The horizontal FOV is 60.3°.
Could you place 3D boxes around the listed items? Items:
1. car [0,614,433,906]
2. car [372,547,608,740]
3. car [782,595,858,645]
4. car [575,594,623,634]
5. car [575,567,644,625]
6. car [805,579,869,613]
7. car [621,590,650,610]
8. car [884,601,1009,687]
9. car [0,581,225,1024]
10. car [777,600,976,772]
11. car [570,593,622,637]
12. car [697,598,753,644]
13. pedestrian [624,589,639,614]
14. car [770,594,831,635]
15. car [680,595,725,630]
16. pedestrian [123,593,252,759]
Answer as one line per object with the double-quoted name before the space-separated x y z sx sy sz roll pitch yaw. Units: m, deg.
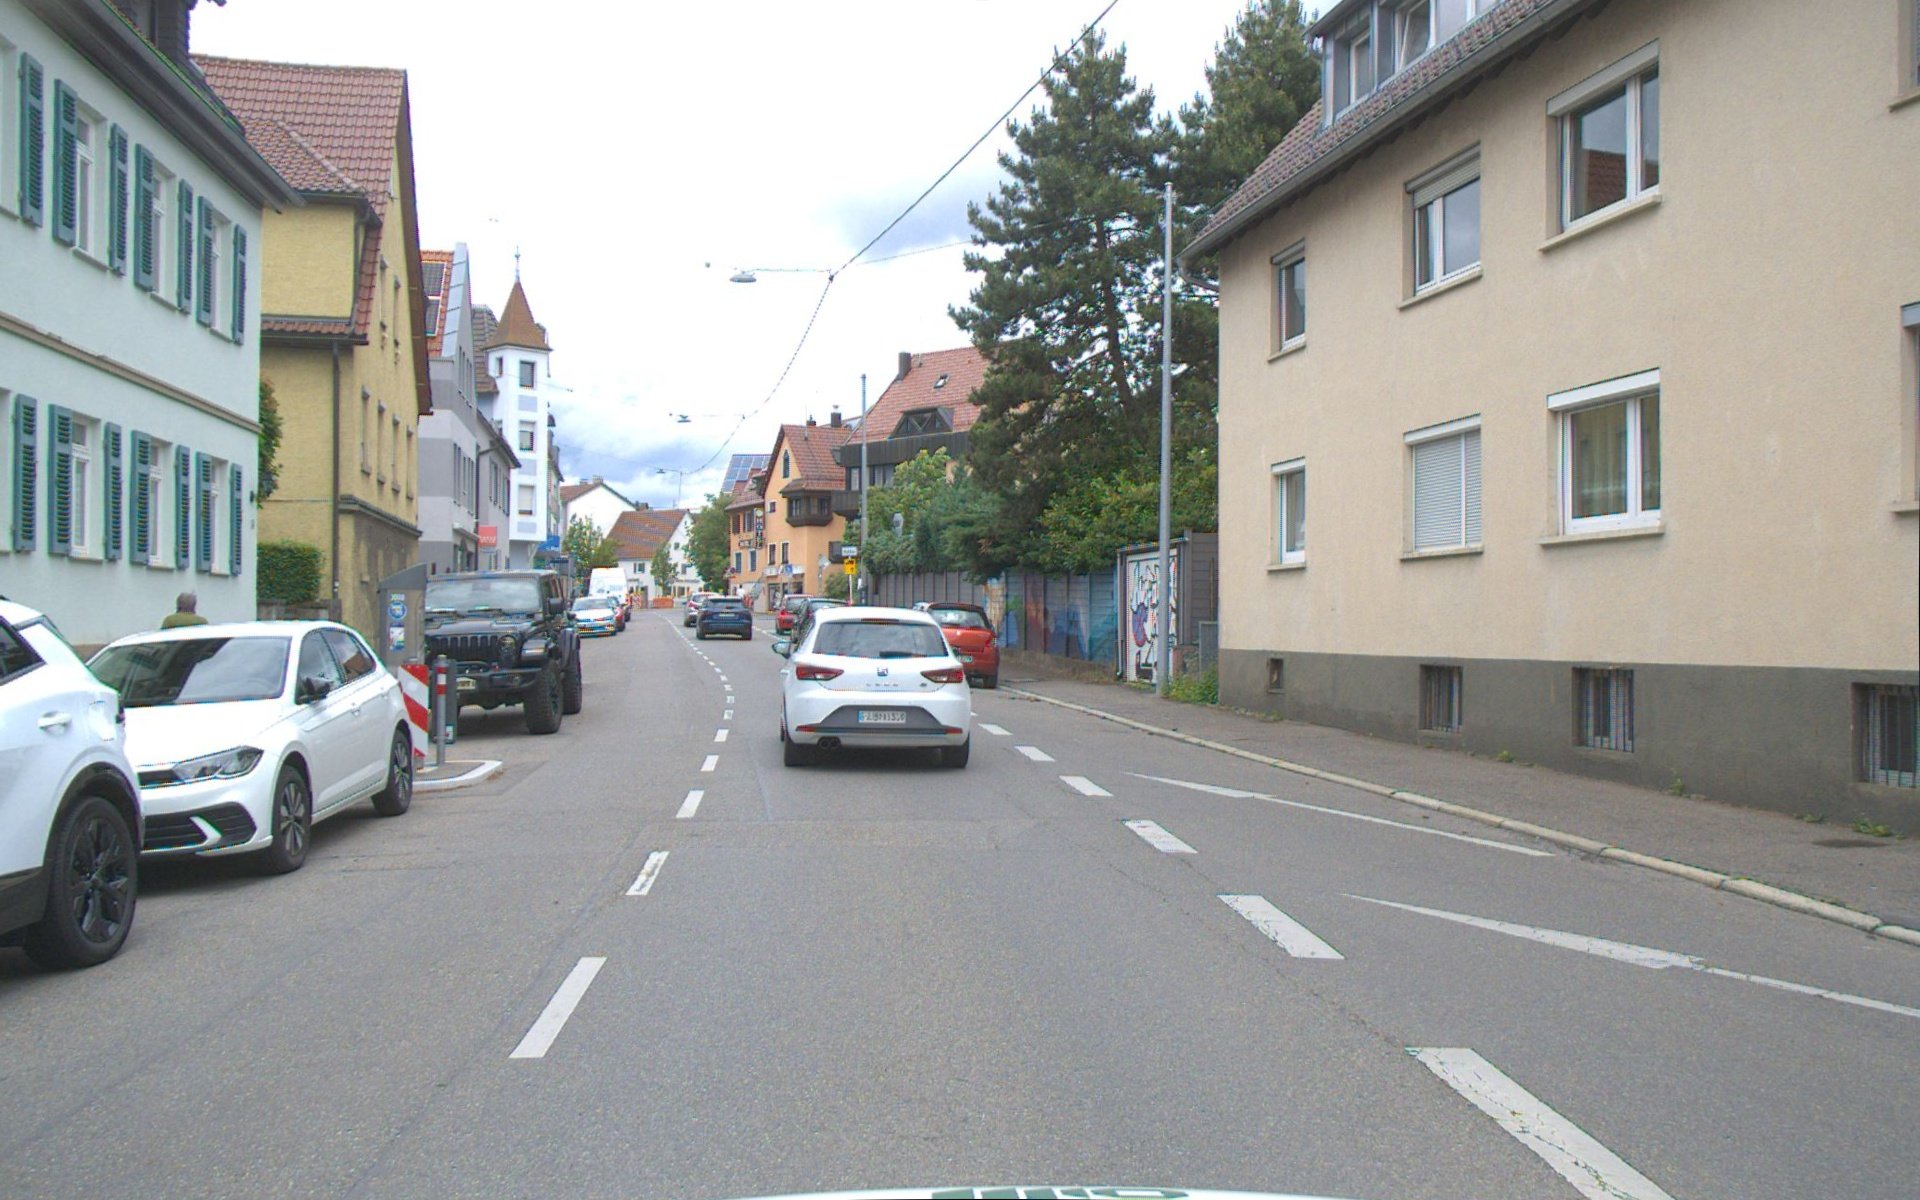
"car" -4.869 0.869 10.665 1.959 1.461 3.914 1 0 -5
"car" -5.668 0.450 20.559 1.955 2.048 4.664 -2 1 -6
"car" -4.348 0.587 50.803 1.728 1.477 3.986 0 0 -14
"car" -14.618 0.533 67.120 1.767 1.505 4.039 -2 1 -11
"car" -17.575 -0.212 83.238 2.108 2.734 5.546 2 0 1
"car" -6.106 -0.205 82.161 2.769 1.538 1.697 2 1 -22
"car" -28.969 -0.033 147.688 1.757 1.731 4.000 1 0 -1
"car" -0.328 0.790 31.576 1.726 1.477 3.991 2 0 -10
"car" -4.566 0.754 5.822 1.958 1.661 4.855 1 0 -3
"car" -0.878 0.751 16.393 1.724 1.477 3.996 0 0 -5
"car" -13.504 0.512 61.523 1.767 1.505 4.039 -2 1 -11
"car" -7.821 0.673 54.862 1.726 1.477 3.990 0 0 -10
"pedestrian" -27.814 0.121 139.964 1.206 2.049 1.172 1 0 -11
"car" -5.989 0.533 61.746 1.728 1.477 3.986 0 0 -14
"car" -11.149 0.515 71.389 1.727 1.477 3.989 0 0 -11
"pedestrian" -7.437 0.716 15.970 0.790 1.526 0.974 2 -1 -6
